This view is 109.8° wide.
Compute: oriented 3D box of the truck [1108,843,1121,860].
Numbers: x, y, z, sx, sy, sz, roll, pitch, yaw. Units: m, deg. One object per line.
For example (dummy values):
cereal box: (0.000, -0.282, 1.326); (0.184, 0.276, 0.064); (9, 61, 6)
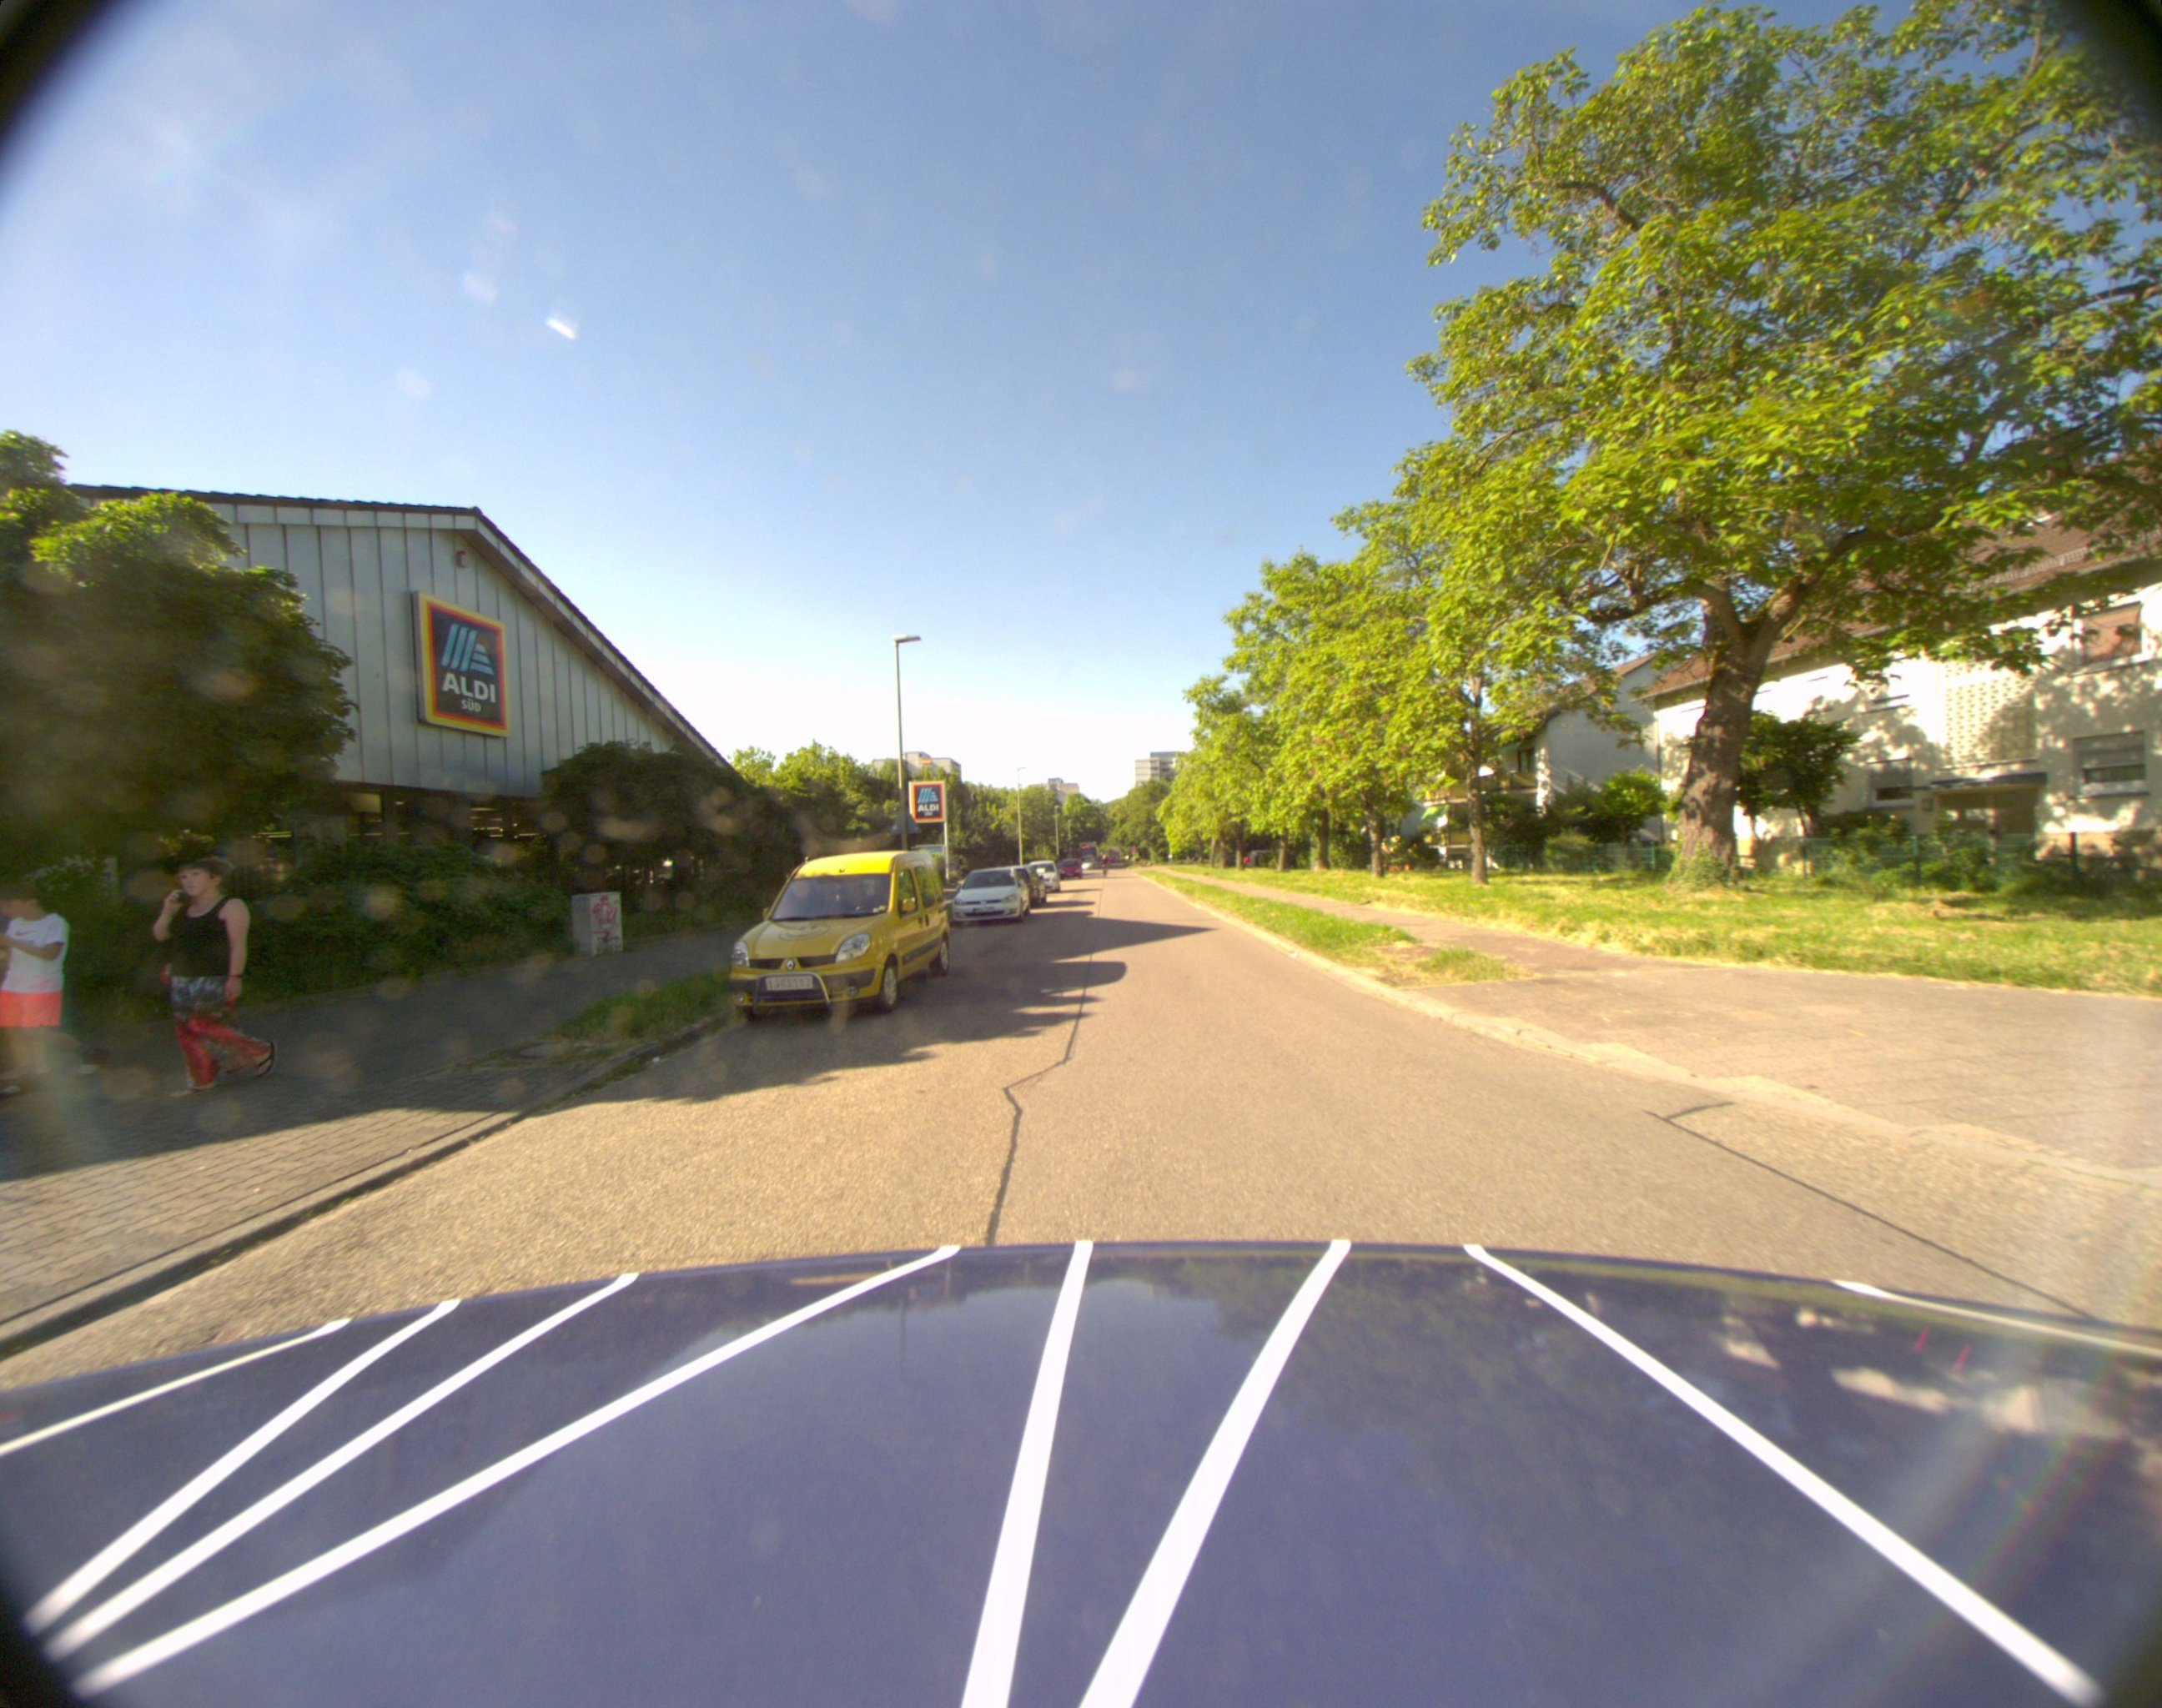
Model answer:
truck: (8.106, -0.739, 184.744); (2.803, 3.996, 9.624); (0, 1, 1)

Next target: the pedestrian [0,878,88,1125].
pedestrian: (-7.471, 0.998, 5.213); (0.568, 1.627, 0.547); (-2, 0, 7)

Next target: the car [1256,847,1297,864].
car: (23.575, 0.153, 91.771); (4.461, 1.957, 2.070); (-1, -1, 5)

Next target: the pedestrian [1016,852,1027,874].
pedestrian: (-4.747, 0.690, 60.473); (0.806, 1.707, 0.983); (0, 2, -1)

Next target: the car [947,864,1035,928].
car: (-2.365, 1.075, 20.932); (1.831, 1.443, 4.000); (-2, 0, 1)

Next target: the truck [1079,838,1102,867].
truck: (1.621, -0.313, 120.026); (3.166, 4.319, 10.584); (-2, 0, 3)

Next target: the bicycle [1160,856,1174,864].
bicycle: (12.090, 0.839, 106.544); (1.902, 1.146, 0.760); (-2, 4, 12)

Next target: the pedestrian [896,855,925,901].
pedestrian: (-6.718, 0.937, 29.889); (0.800, 1.771, 0.809); (-2, 0, 10)

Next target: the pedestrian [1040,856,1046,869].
pedestrian: (-4.975, 1.085, 98.727); (0.641, 1.629, 0.641); (-2, 1, 5)

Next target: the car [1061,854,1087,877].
car: (-0.540, 0.949, 64.663); (1.844, 1.795, 4.654); (-2, 0, 3)

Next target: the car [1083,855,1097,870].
car: (1.231, 1.157, 103.671); (1.844, 1.795, 4.029); (-2, 0, 2)

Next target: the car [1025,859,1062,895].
car: (-1.822, 1.088, 38.035); (1.684, 1.590, 4.027); (-2, 1, -1)

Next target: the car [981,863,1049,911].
car: (-2.231, 1.098, 26.848); (1.811, 1.435, 4.364); (-2, 0, 2)

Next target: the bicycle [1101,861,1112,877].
bicycle: (2.077, 1.201, 62.316); (0.863, 1.164, 3.031); (-3, 0, 1)

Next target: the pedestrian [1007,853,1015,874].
pedestrian: (-5.540, 0.745, 60.372); (0.574, 1.600, 0.792); (0, 2, -1)

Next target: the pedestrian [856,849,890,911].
pedestrian: (-6.462, 0.788, 23.602); (0.796, 1.850, 0.874); (-2, 1, -5)

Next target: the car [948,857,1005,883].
car: (-7.290, 1.084, 52.935); (3.757, 1.635, 1.854); (-2, 0, -13)

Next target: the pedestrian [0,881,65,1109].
pedestrian: (-8.080, 1.031, 5.541); (0.568, 1.627, 0.547); (-2, 0, 7)

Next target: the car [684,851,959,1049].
car: (-2.823, 0.922, 9.306); (1.728, 1.827, 4.000); (-2, 0, 3)

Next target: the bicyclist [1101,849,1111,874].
bicyclist: (2.051, 0.611, 62.502); (0.753, 2.002, 0.711); (-2, 1, 1)

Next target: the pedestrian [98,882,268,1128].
pedestrian: (-6.350, 1.024, 5.397); (0.568, 1.627, 0.547); (0, 1, 7)
